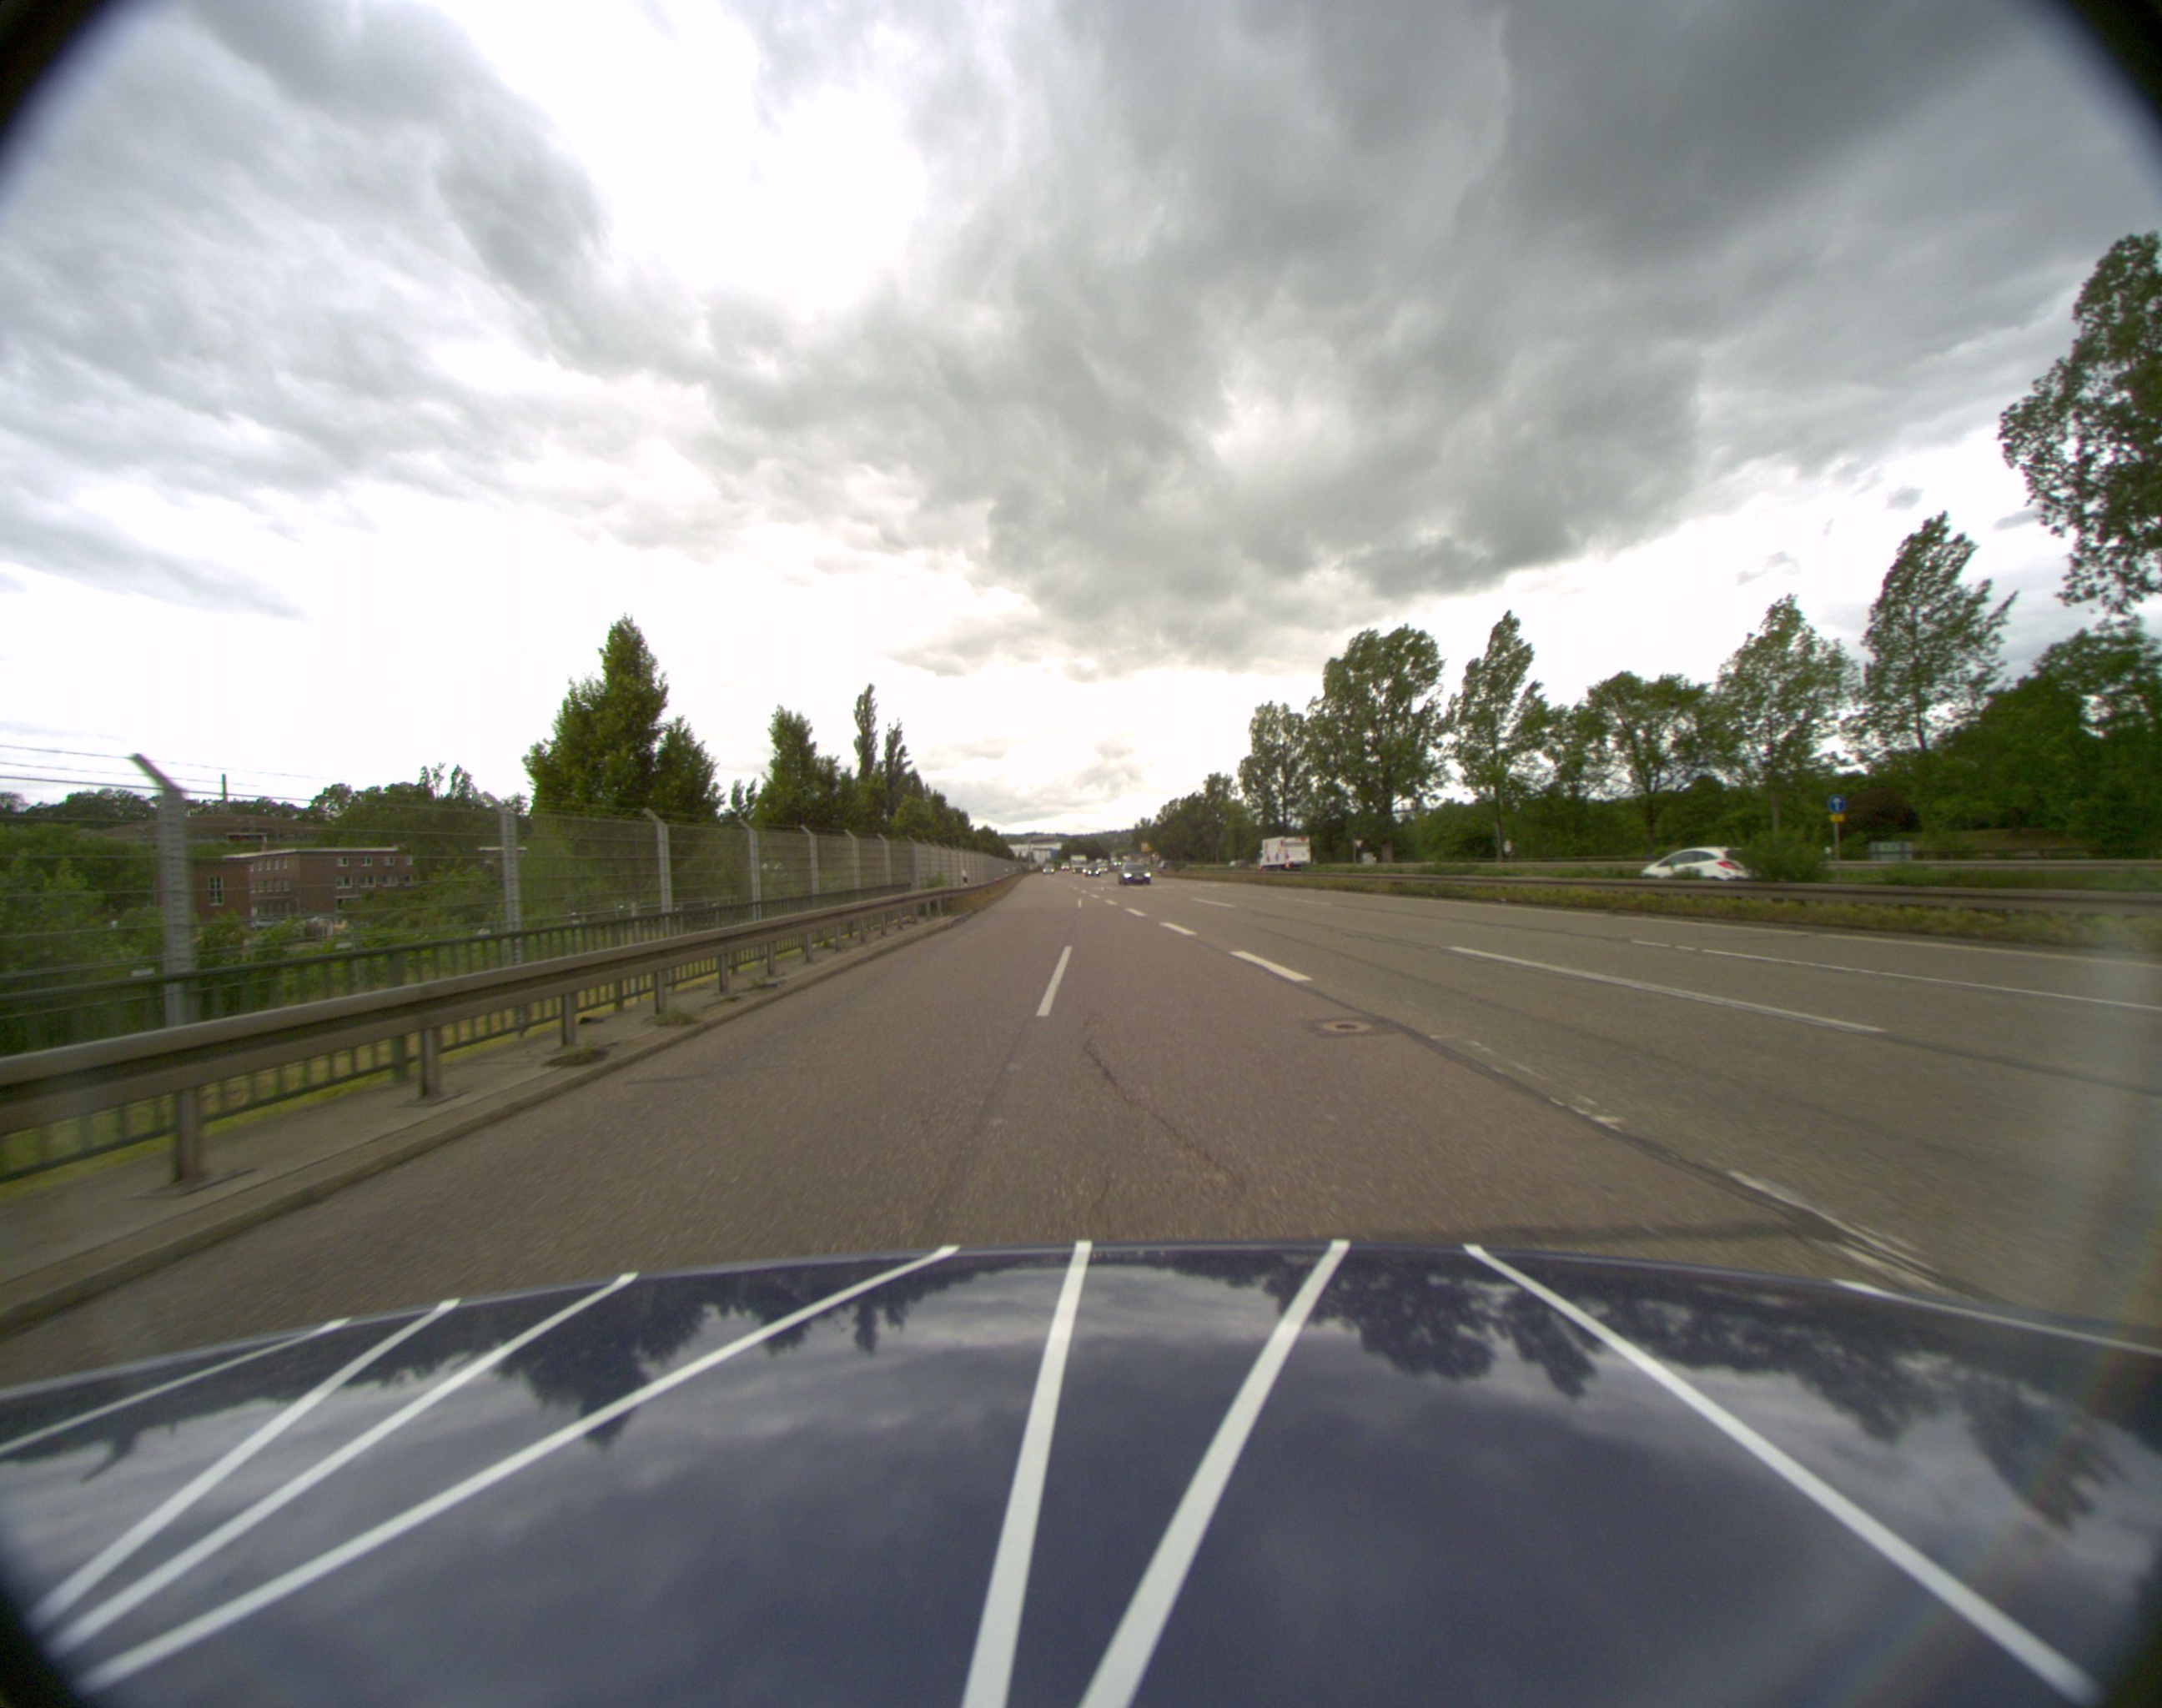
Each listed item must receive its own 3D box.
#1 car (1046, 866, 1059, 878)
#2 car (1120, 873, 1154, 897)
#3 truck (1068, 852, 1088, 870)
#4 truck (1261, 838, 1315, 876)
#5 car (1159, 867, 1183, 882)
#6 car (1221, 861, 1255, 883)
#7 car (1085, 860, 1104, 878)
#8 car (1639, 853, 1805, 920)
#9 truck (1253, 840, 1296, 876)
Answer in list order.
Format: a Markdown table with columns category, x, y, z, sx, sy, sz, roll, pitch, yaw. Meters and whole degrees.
| category | x | y | z | sx | sy | sz | roll | pitch | yaw |
| --- | --- | --- | --- | --- | --- | --- | --- | --- | --- |
| car | -4.865 | 3.062 | 130.042 | 1.998 | 2.001 | 4.000 | -4 | 0 | 1 |
| car | 3.686 | 2.022 | 50.684 | 1.940 | 1.491 | 4.305 | -1 | -2 | 1 |
| truck | -0.537 | 1.217 | 133.529 | 3.040 | 3.140 | 7.566 | -1 | 0 | -3 |
| truck | 21.420 | 0.349 | 79.003 | 2.992 | 3.621 | 6.334 | -4 | -1 | -8 |
| car | 11.469 | 2.604 | 97.243 | 1.851 | 1.719 | 5.524 | -4 | -1 | -5 |
| car | 15.490 | 1.785 | 75.062 | 2.000 | 2.001 | 3.998 | -4 | -1 | -7 |
| car | 1.592 | 1.768 | 89.579 | 1.998 | 2.001 | 4.001 | -3 | -2 | 1 |
| car | 19.220 | 0.955 | 23.006 | 1.784 | 1.796 | 3.571 | -2 | -1 | -4 |
| truck | 20.942 | 0.445 | 82.549 | 2.994 | 3.621 | 3.998 | -4 | -1 | -8 |
